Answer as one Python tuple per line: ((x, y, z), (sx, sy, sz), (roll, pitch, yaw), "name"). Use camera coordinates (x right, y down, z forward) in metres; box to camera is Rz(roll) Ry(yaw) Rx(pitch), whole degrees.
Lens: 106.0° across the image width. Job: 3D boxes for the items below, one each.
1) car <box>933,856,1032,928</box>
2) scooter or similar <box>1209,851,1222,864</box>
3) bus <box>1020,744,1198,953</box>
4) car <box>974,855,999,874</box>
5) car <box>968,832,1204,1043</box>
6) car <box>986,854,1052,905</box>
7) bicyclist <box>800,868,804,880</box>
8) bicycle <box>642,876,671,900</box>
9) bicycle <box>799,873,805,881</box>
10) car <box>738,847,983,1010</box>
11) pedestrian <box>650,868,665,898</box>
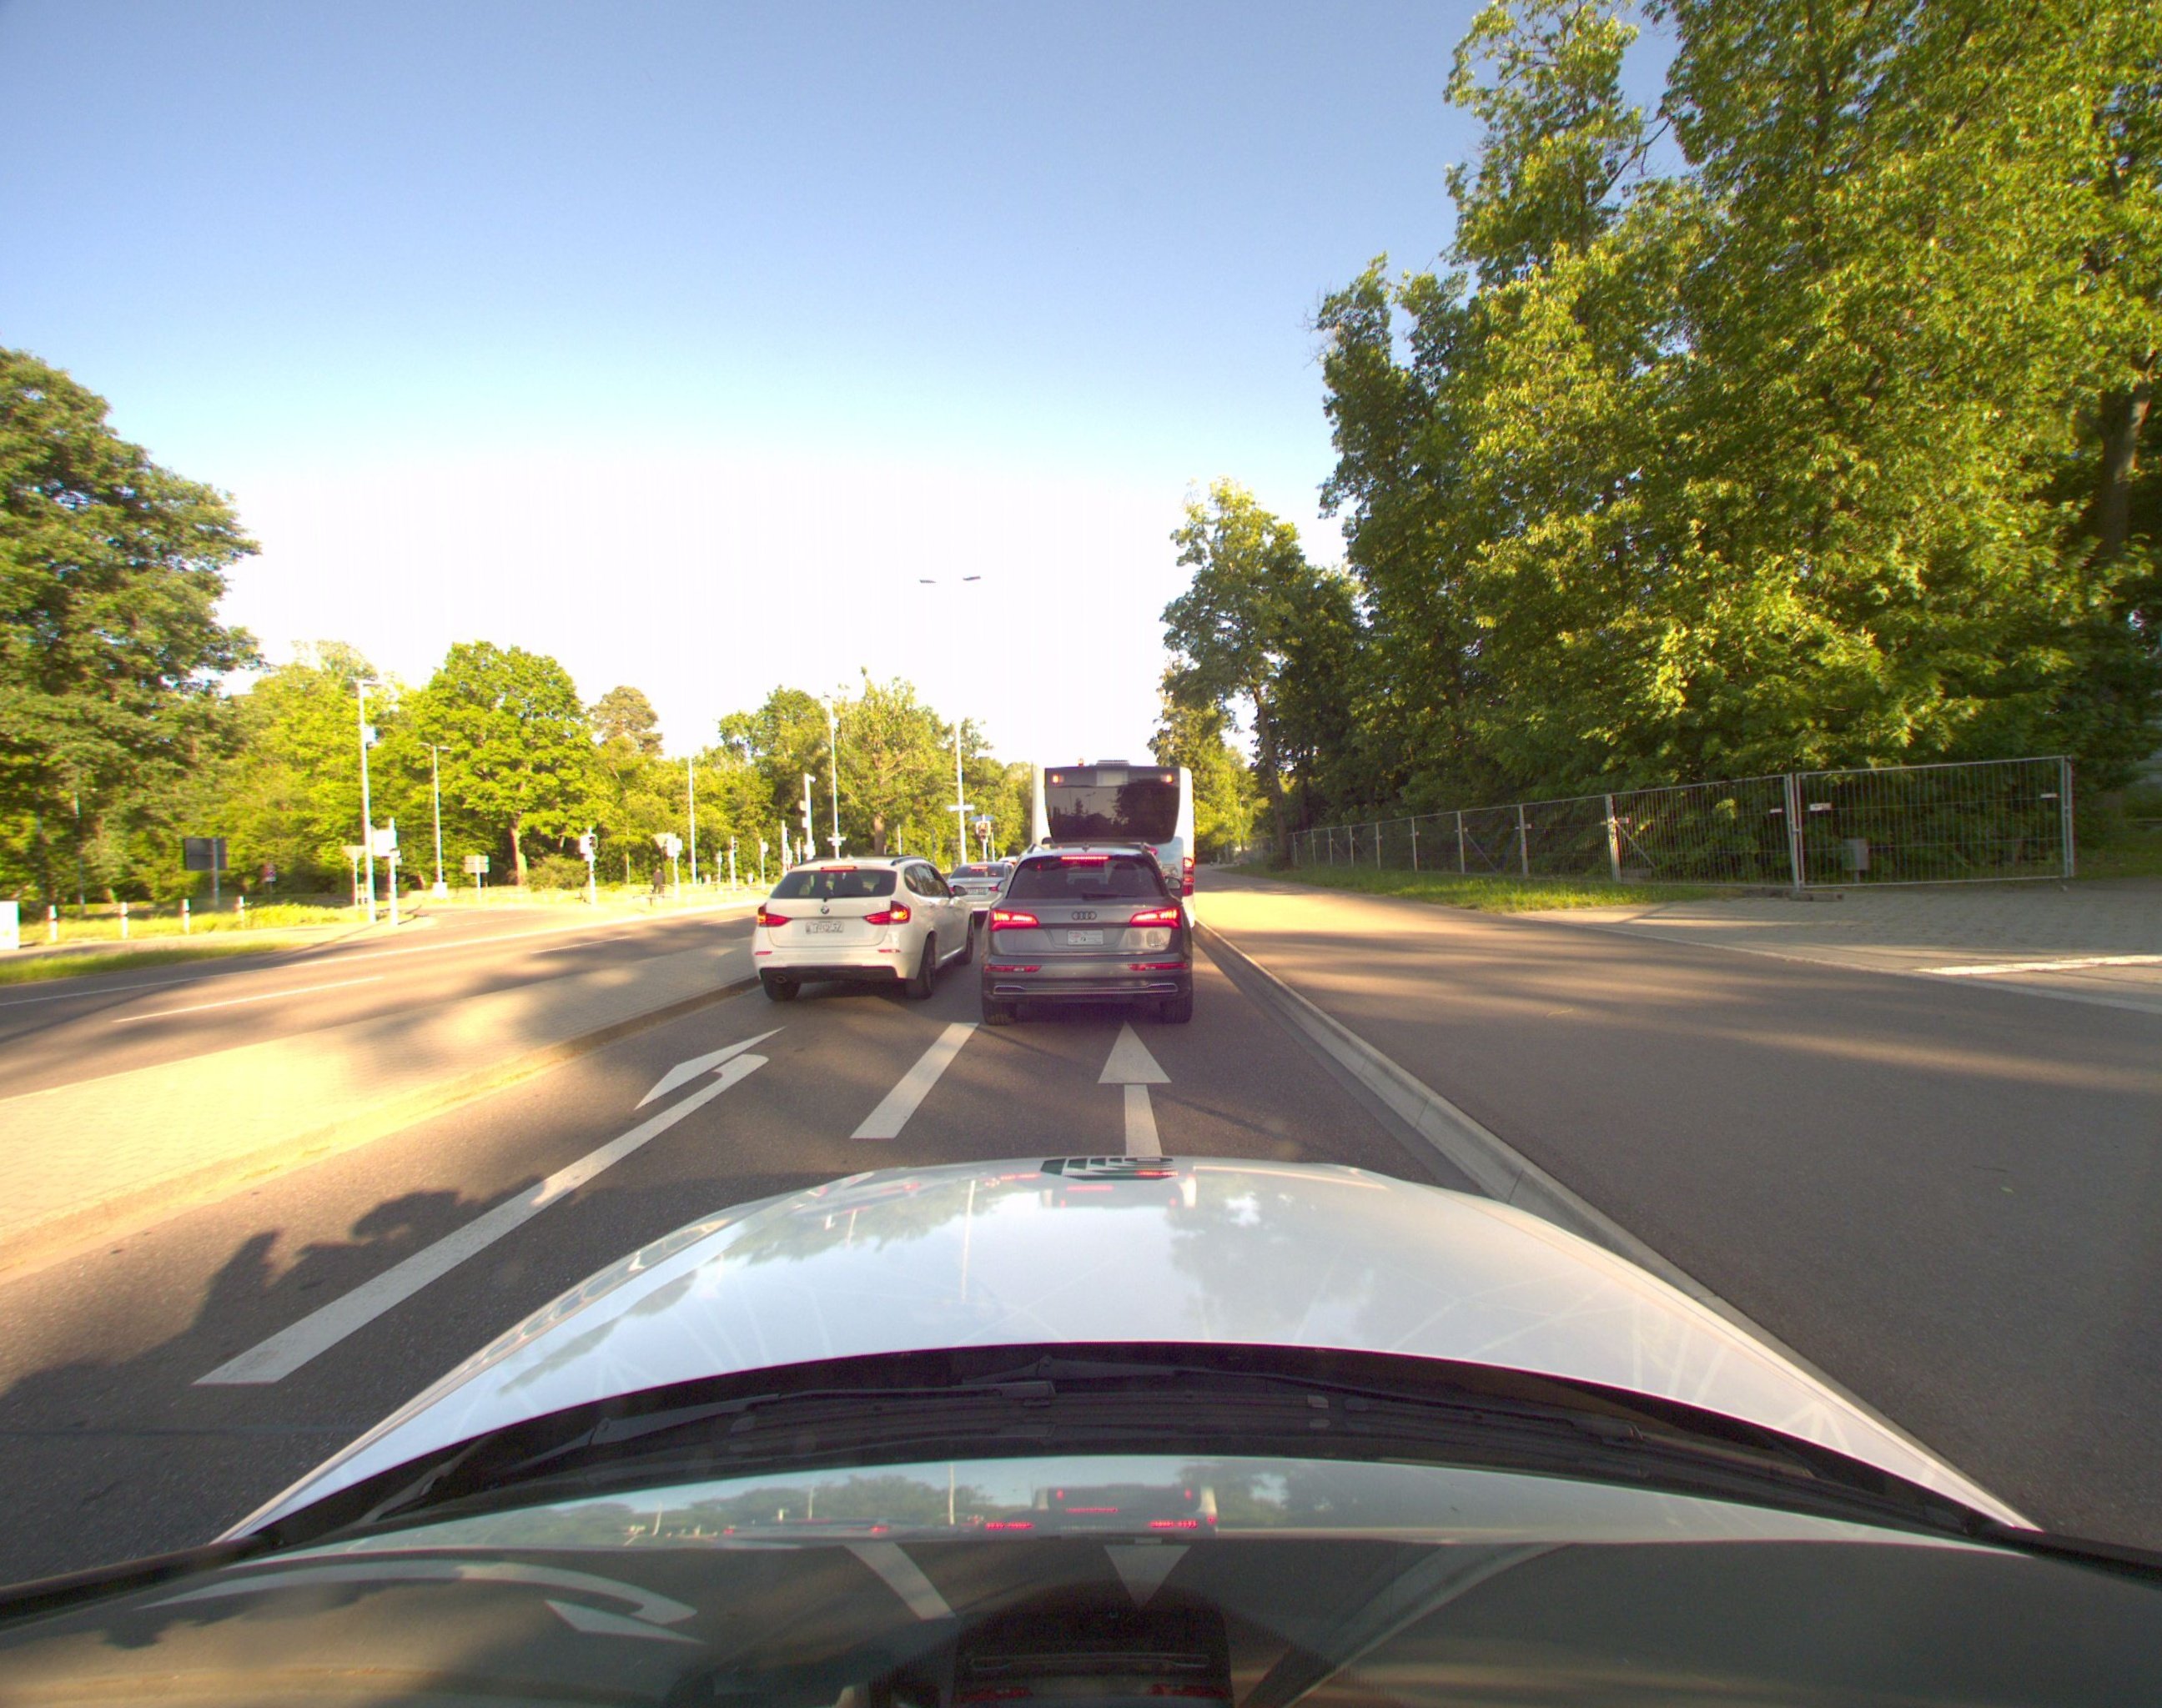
((-2.201, 0.812, 19.260), (1.779, 1.444, 4.278), (0, 1, 0), "car")
((12.815, 0.327, 77.783), (1.175, 1.174, 0.661), (0, 0, 13), "scooter or similar")
((0.582, -0.112, 15.252), (2.667, 3.142, 5.887), (0, 0, 3), "bus")
((-8.701, 0.949, 75.364), (1.990, 1.662, 3.995), (-3, 0, -4), "car")
((0.102, 0.644, 8.449), (1.861, 1.663, 4.002), (0, 0, 2), "car")
((-2.046, 0.806, 27.787), (1.801, 1.572, 4.002), (0, 1, 2), "car")
((-22.220, 1.573, 64.862), (0.272, 0.963, 0.240), (0, -1, -3), "bicyclist")
((-22.684, 1.798, 43.536), (0.466, 1.178, 2.005), (0, -1, 2), "bicycle")
((-22.221, 1.834, 64.908), (0.266, 0.581, 0.838), (0, -1, -4), "bicycle")
((-2.423, 0.727, 10.182), (1.712, 1.581, 4.436), (0, 0, 2), "car")
((-22.678, 1.553, 43.615), (0.480, 1.562, 0.649), (0, -1, 1), "pedestrian")
